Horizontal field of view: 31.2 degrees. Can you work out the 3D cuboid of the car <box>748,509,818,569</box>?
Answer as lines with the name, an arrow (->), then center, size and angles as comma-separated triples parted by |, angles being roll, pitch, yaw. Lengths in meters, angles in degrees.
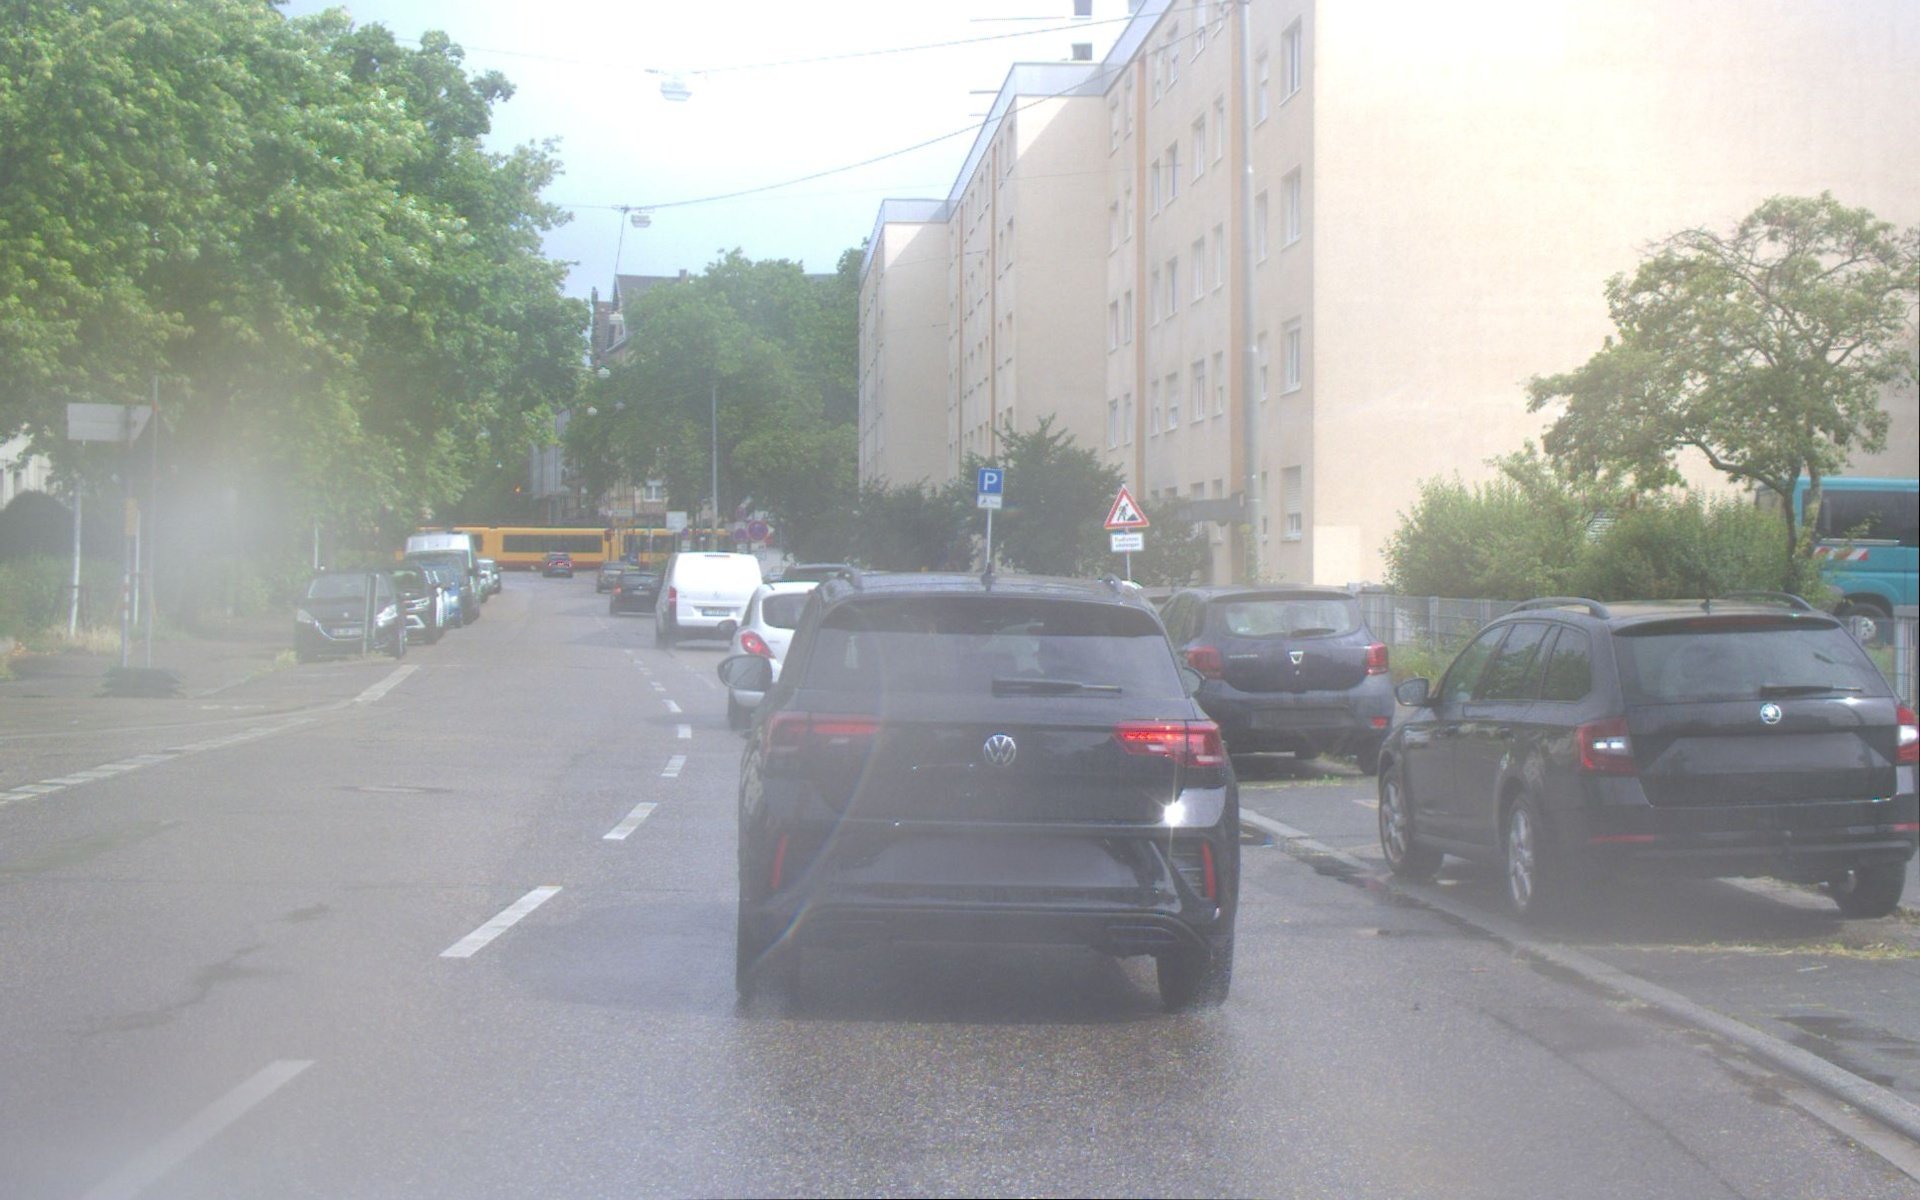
car -> -4.903, -1.687, 95.692 | 1.840, 1.602, 3.676 | -1, 1, -2

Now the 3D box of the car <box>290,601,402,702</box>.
car -> -9.986, 0.809, 56.109 | 1.585, 1.500, 4.065 | -1, 1, -8

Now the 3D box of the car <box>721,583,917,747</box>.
car -> -1.448, 0.628, 34.776 | 1.813, 1.498, 4.000 | 2, 0, -3

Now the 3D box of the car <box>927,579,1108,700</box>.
car -> 0.706, 0.482, 45.094 | 1.716, 1.447, 4.260 | 2, 0, -8

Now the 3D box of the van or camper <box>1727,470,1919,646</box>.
van or camper -> 12.172, -0.518, 42.736 | 4.759, 2.124, 2.322 | 0, 1, 1

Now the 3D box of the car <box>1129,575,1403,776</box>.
car -> 2.445, 0.586, 28.343 | 1.756, 1.522, 4.000 | 0, 0, -2

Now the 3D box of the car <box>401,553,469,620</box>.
car -> -13.145, -0.351, 86.155 | 1.585, 1.634, 3.921 | -1, 1, -8

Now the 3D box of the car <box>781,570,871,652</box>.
car -> -2.921, 0.212, 74.153 | 1.604, 1.667, 4.033 | -1, 1, -7

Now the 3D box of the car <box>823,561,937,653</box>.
car -> -1.447, 0.094, 60.632 | 1.695, 1.533, 4.033 | -1, 1, -6

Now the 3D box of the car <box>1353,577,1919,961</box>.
car -> 3.237, 0.699, 16.730 | 1.774, 1.534, 4.379 | -2, 1, -4

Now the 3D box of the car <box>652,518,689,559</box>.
car -> -13.322, -2.817, 158.258 | 1.665, 1.831, 4.001 | 0, 1, -5

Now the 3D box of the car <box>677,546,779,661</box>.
car -> -4.514, 0.078, 66.689 | 1.836, 2.096, 4.000 | 2, 0, -4

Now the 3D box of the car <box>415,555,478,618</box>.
car -> -13.741, -0.373, 92.148 | 1.585, 1.634, 3.921 | -1, 1, -8

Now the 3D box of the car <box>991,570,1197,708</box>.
car -> 1.501, 0.439, 39.920 | 1.748, 1.503, 4.112 | 1, 0, -7

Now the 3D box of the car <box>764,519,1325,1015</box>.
car -> 0.182, 0.579, 13.834 | 1.873, 1.640, 4.062 | 2, 0, -3

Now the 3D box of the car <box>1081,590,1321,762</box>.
car -> 2.256, 0.677, 33.164 | 1.604, 1.503, 4.161 | -2, 0, -5

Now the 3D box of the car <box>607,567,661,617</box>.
car -> -10.272, -0.268, 108.166 | 1.604, 1.505, 3.549 | -1, 1, -7
